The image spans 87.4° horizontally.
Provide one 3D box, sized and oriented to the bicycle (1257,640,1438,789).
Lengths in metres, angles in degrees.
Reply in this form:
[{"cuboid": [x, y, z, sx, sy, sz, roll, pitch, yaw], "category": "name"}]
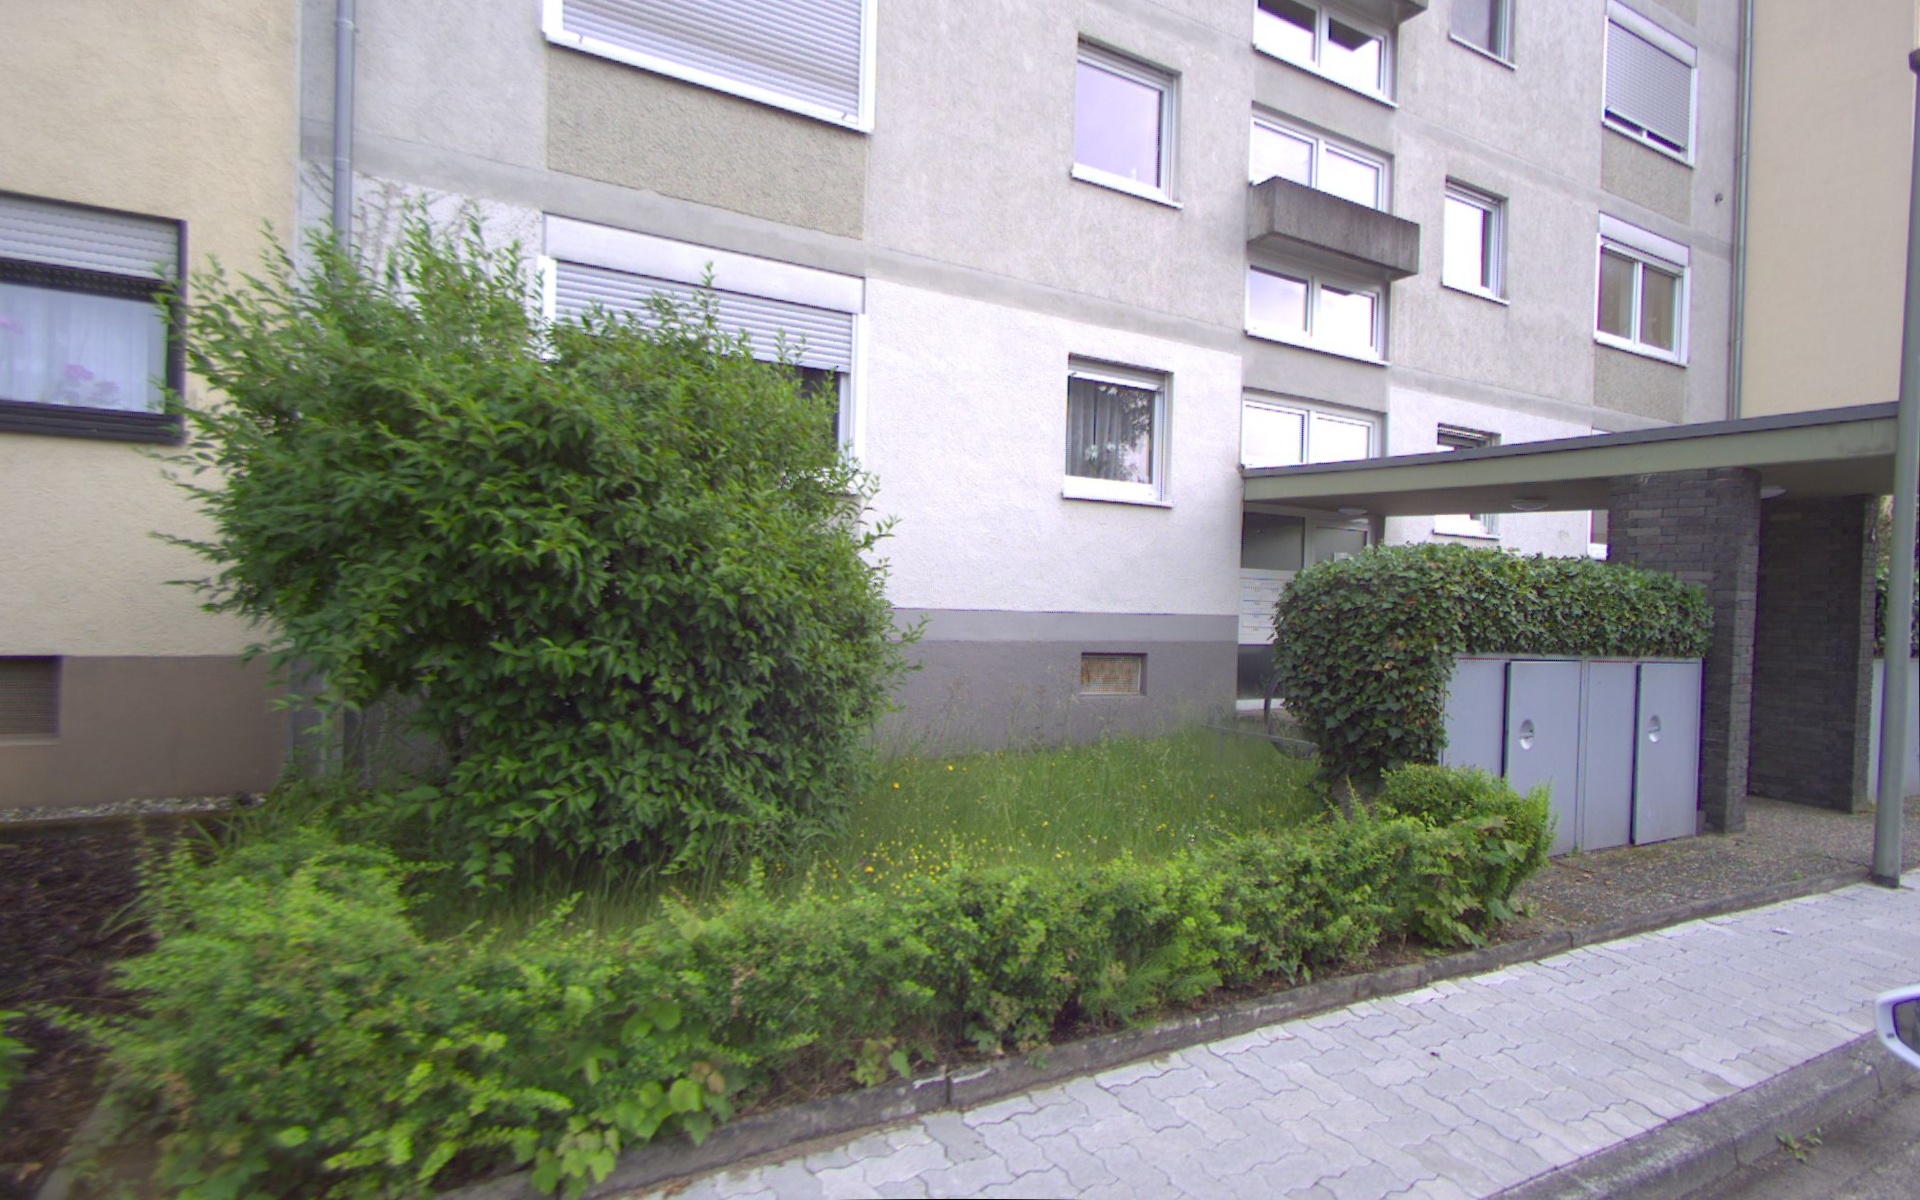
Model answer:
[{"cuboid": [3.026, 0.854, 7.802, 1.527, 1.048, 0.372, 1, 2, -29], "category": "bicycle"}]
